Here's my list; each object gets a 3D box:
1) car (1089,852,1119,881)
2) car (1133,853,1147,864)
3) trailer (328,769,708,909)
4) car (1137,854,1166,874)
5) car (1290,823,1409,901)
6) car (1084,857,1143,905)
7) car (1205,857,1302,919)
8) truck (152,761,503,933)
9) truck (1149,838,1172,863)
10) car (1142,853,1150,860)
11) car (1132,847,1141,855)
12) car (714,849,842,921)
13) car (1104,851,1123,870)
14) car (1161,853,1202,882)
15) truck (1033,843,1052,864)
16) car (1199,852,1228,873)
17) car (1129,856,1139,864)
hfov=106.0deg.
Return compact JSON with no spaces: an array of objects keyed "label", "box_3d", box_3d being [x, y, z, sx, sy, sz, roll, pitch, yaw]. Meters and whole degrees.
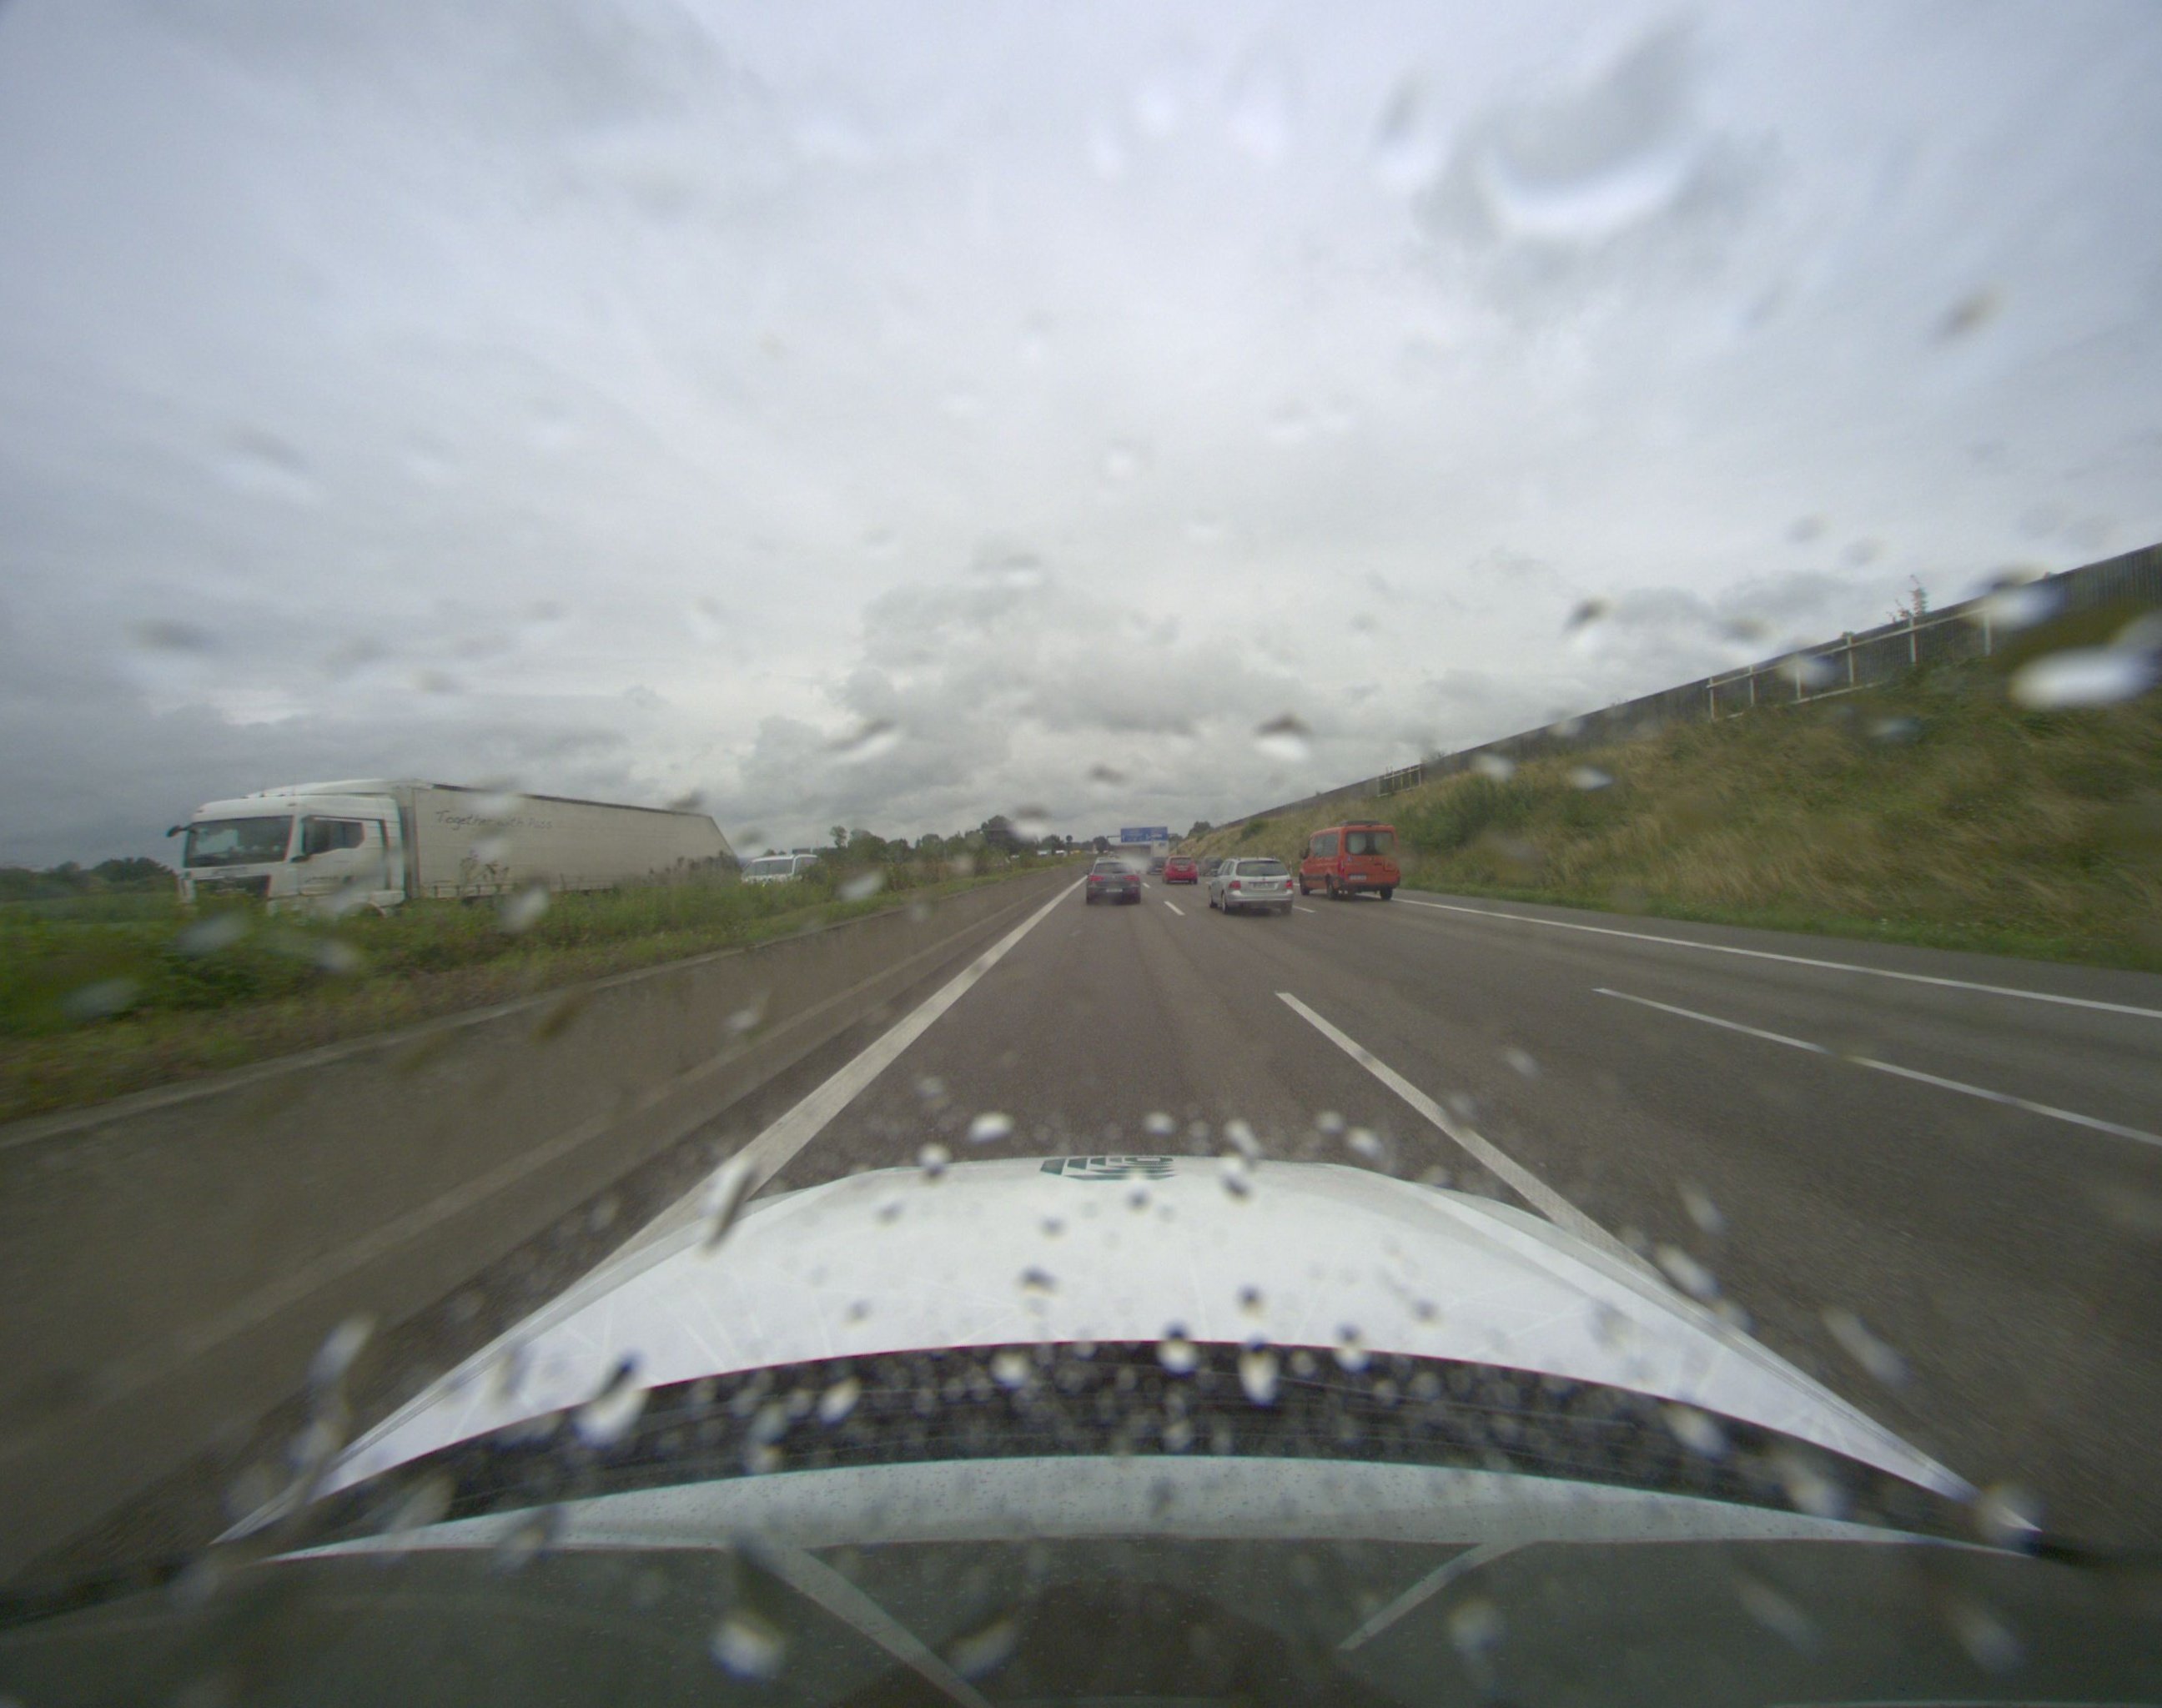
[{"label":"car","box_3d":[1.508,0.776,51.633,1.747,1.750,4.003,-1,-1,3]},{"label":"car","box_3d":[9.088,0.731,125.398,1.839,1.687,4.000,-1,-1,1]},{"label":"trailer","box_3d":[-16.940,-0.316,26.735,2.903,3.428,13.246,-1,-1,2]},{"label":"car","box_3d":[5.659,0.776,65.519,1.915,1.522,4.621,-2,0,0]},{"label":"car","box_3d":[8.996,0.250,27.955,2.078,2.315,6.182,-2,0,1]},{"label":"car","box_3d":[1.085,0.840,26.816,1.761,1.467,4.002,-1,-1,2]},{"label":"car","box_3d":[4.508,0.822,21.946,1.735,1.425,4.518,-2,0,2]},{"label":"truck","box_3d":[-17.185,-0.121,19.234,2.959,3.428,5.629,-1,-1,1]},{"label":"truck","box_3d":[14.186,-0.515,147.303,3.270,4.295,19.047,-1,-1,3]},{"label":"car","box_3d":[17.702,0.741,221.692,1.986,1.860,4.392,-2,0,1]},{"label":"car","box_3d":[14.069,-0.828,206.006,1.987,2.013,4.000,-2,0,1]},{"label":"car","box_3d":[-8.869,0.840,24.370,1.813,1.838,4.803,-3,0,2]},{"label":"car","box_3d":[3.290,0.665,82.119,1.698,1.796,3.857,-3,0,2]},{"label":"car","box_3d":[5.453,0.715,44.603,1.883,1.446,4.688,-2,0,3]},{"label":"truck","box_3d":[-8.654,-0.056,182.734,3.211,4.649,9.682,-1,-1,3]},{"label":"car","box_3d":[9.464,0.603,58.376,1.695,1.401,3.879,-1,-1,3]},{"label":"car","box_3d":[10.600,1.177,163.708,1.745,1.517,4.001,-2,0,1]}]
